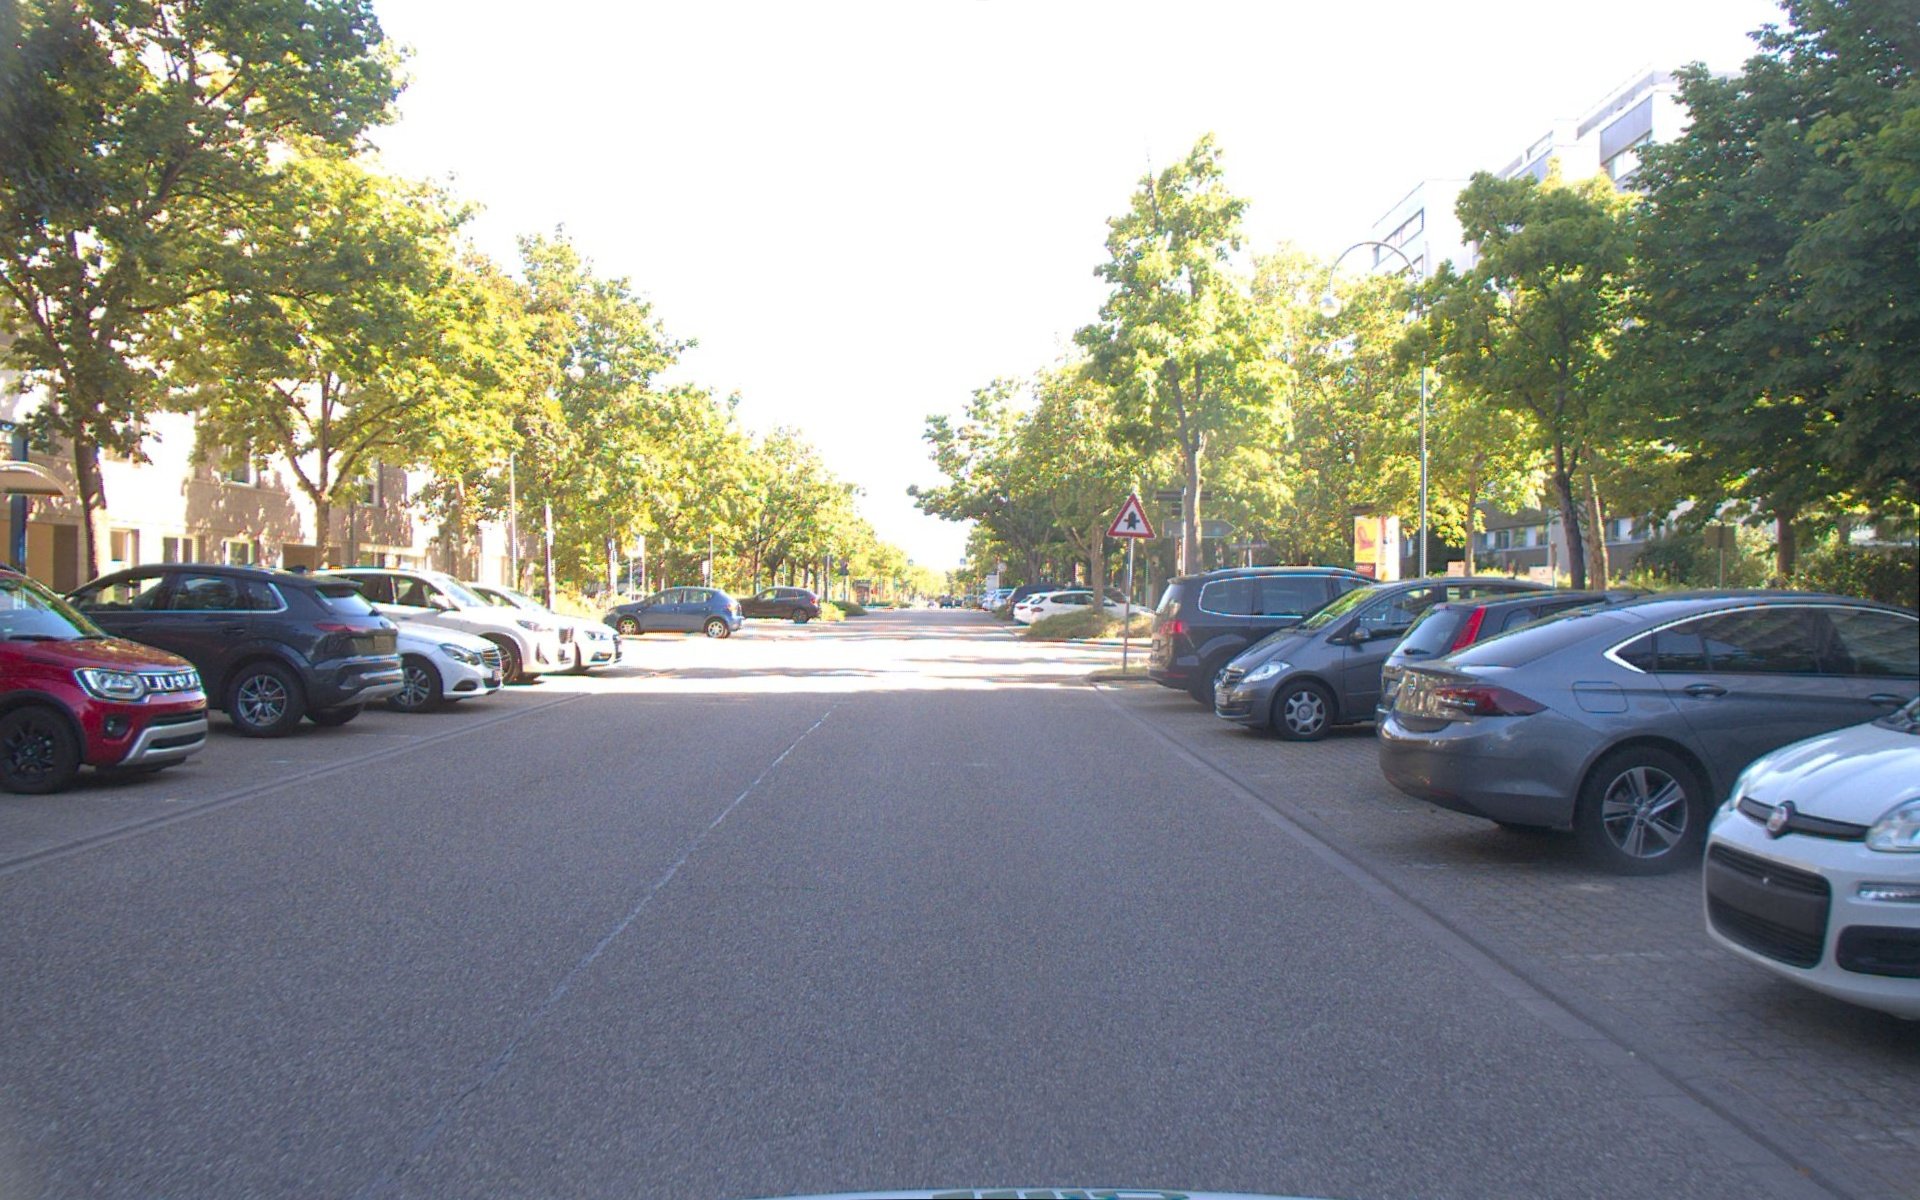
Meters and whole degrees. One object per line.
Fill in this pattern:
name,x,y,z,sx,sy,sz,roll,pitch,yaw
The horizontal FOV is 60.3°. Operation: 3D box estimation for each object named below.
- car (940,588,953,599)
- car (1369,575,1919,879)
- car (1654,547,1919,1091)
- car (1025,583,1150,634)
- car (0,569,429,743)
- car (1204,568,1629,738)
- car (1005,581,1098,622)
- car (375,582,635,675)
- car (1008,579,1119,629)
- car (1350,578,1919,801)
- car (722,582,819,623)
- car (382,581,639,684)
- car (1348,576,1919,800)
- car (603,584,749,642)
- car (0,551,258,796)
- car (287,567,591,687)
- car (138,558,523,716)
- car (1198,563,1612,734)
car,-2.051,-0.954,246.205,1.894,1.625,4.366,0,1,-1
car,4.540,0.640,9.489,3.964,1.517,1.549,-1,0,-4
car,4.734,0.640,5.868,3.968,1.619,1.547,0,1,-8
car,4.272,0.272,55.784,3.910,1.653,1.998,0,0,-6
car,-7.548,0.543,16.484,3.904,1.614,1.765,-1,-1,2
car,4.699,0.519,17.334,3.964,1.609,1.640,-1,0,-4
car,4.062,0.060,74.066,3.910,1.823,1.998,0,0,-6
car,-7.560,0.469,27.745,3.907,1.507,1.679,0,0,-3
car,3.842,0.147,61.871,3.910,1.823,1.998,0,0,-6
car,5.114,0.616,12.438,3.964,1.479,1.518,-1,0,-4
car,-8.136,0.112,71.301,3.905,1.713,2.000,0,0,0
car,-7.458,0.519,27.718,3.814,1.640,1.858,0,0,-2
car,5.097,0.587,12.284,3.965,1.446,1.735,-1,0,-5
car,-7.980,0.348,46.688,3.909,1.559,1.616,0,1,-5
car,-7.359,0.506,12.328,3.467,1.686,1.761,0,0,1
car,-7.717,0.377,24.749,3.904,1.683,1.861,-1,1,2
car,-7.393,0.417,19.704,3.906,1.749,1.708,1,0,-2
car,4.588,0.480,17.411,3.816,1.685,1.857,0,0,-4
